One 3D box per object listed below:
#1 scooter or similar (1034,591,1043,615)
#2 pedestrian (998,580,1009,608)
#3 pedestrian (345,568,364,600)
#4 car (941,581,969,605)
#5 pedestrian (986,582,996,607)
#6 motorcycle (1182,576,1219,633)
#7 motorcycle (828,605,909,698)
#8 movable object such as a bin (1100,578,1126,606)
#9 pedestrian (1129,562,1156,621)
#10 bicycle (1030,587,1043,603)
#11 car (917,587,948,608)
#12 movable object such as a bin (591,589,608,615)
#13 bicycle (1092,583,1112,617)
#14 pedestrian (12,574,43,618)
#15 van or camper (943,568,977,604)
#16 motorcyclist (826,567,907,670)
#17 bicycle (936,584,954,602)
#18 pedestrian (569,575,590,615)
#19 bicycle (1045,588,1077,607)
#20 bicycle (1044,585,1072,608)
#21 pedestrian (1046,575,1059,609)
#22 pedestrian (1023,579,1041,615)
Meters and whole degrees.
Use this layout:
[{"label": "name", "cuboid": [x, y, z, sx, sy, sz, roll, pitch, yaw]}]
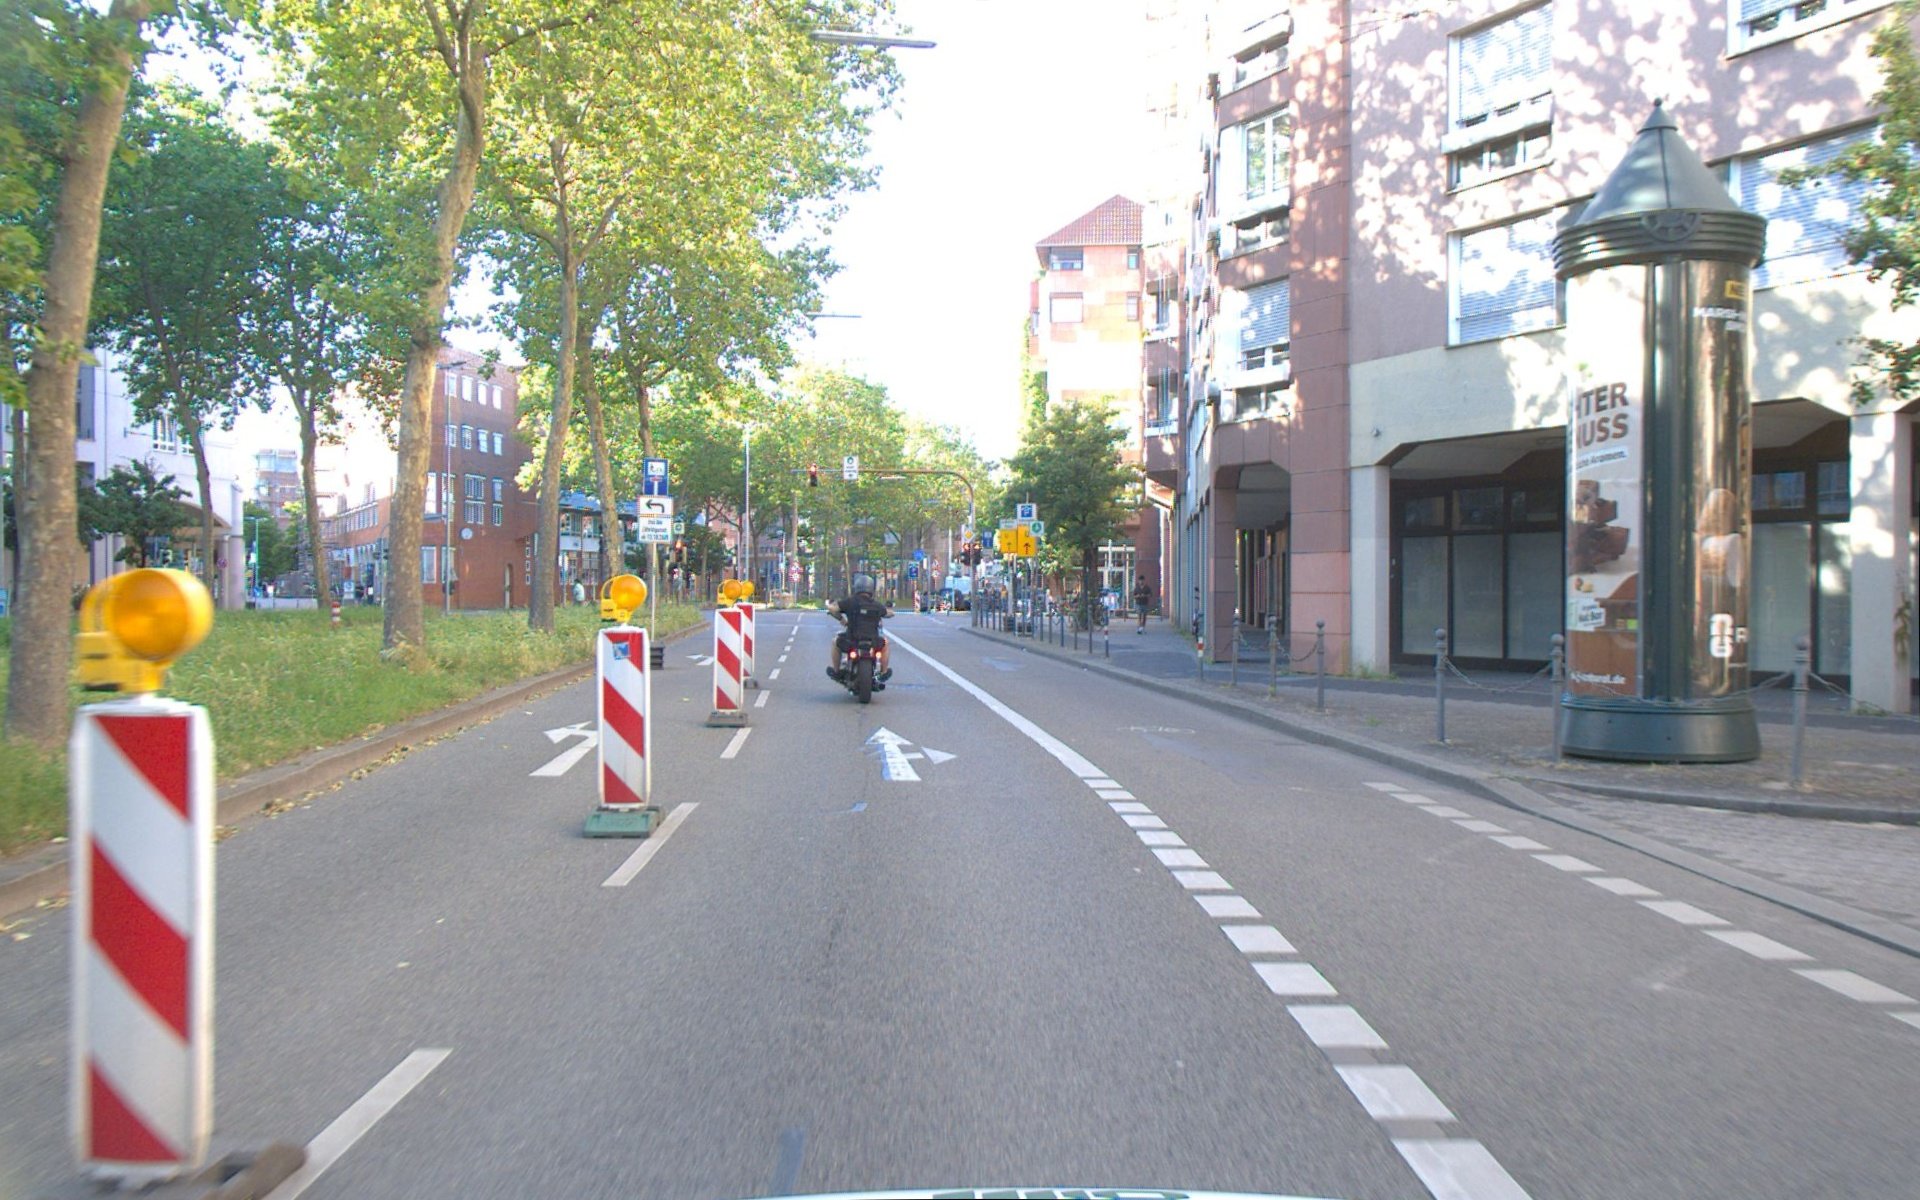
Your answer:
[{"label": "scooter or similar", "cuboid": [3.952, 0.137, 83.282, 0.386, 1.178, 1.250, 0, 0, 1]}, {"label": "pedestrian", "cuboid": [2.835, -0.398, 107.982, 0.686, 1.764, 0.767, 0, 0, -1]}, {"label": "pedestrian", "cuboid": [-36.142, -0.930, 98.747, 0.837, 1.902, 0.752, 0, 0, 3]}, {"label": "car", "cuboid": [-0.353, -0.521, 117.258, 1.586, 1.647, 4.488, 0, 0, 5]}, {"label": "pedestrian", "cuboid": [2.014, -0.352, 108.028, 0.631, 1.606, 0.748, 0, 0, -1]}, {"label": "motorcycle", "cuboid": [6.032, 0.102, 41.562, 0.478, 1.396, 2.089, 0, 1, -4]}, {"label": "motorcycle", "cuboid": [-1.213, 0.644, 21.495, 0.998, 1.116, 2.006, 0, 1, -5]}, {"label": "movable object such as a bin", "cuboid": [8.224, -0.438, 89.021, 1.380, 1.508, 0.872, 0, 0, 7]}, {"label": "pedestrian", "cuboid": [5.514, -0.268, 50.051, 0.764, 1.769, 0.837, 0, 1, 4]}, {"label": "bicycle", "cuboid": [4.598, -0.330, 99.823, 0.722, 0.956, 1.752, 0, 1, 0]}, {"label": "car", "cuboid": [-1.760, -0.202, 107.306, 1.586, 1.325, 4.314, 0, 0, 4]}, {"label": "movable object such as a bin", "cuboid": [-13.915, 0.069, 63.813, 0.499, 0.970, 0.540, 0, 1, 9]}, {"label": "bicycle", "cuboid": [5.185, -0.011, 60.365, 0.608, 1.247, 1.928, 0, 1, 8]}, {"label": "pedestrian", "cuboid": [-35.631, -0.151, 63.201, 0.692, 1.667, 0.789, 0, 0, 7]}, {"label": "van or camper", "cuboid": [0.055, -1.031, 123.716, 2.005, 2.585, 5.777, 0, 0, 5]}, {"label": "motorcyclist", "cuboid": [-1.225, 0.234, 21.586, 0.992, 1.285, 0.773, 2, 0, -5]}, {"label": "bicycle", "cuboid": [-0.886, -0.405, 100.197, 0.724, 1.071, 1.746, 0, 1, -13]}, {"label": "pedestrian", "cuboid": [-14.605, -0.205, 63.525, 0.605, 1.530, 0.535, 0, 0, 12]}, {"label": "bicycle", "cuboid": [5.781, -0.148, 94.947, 1.711, 1.071, 0.739, 0, 0, 23]}, {"label": "bicycle", "cuboid": [5.427, -0.180, 91.673, 1.534, 1.248, 0.578, 0, 0, 1]}, {"label": "pedestrian", "cuboid": [4.652, -0.411, 83.152, 0.451, 1.702, 0.678, 0, 0, -13]}, {"label": "pedestrian", "cuboid": [3.627, -0.153, 83.352, 0.774, 1.794, 0.606, 0, 0, -21]}]
